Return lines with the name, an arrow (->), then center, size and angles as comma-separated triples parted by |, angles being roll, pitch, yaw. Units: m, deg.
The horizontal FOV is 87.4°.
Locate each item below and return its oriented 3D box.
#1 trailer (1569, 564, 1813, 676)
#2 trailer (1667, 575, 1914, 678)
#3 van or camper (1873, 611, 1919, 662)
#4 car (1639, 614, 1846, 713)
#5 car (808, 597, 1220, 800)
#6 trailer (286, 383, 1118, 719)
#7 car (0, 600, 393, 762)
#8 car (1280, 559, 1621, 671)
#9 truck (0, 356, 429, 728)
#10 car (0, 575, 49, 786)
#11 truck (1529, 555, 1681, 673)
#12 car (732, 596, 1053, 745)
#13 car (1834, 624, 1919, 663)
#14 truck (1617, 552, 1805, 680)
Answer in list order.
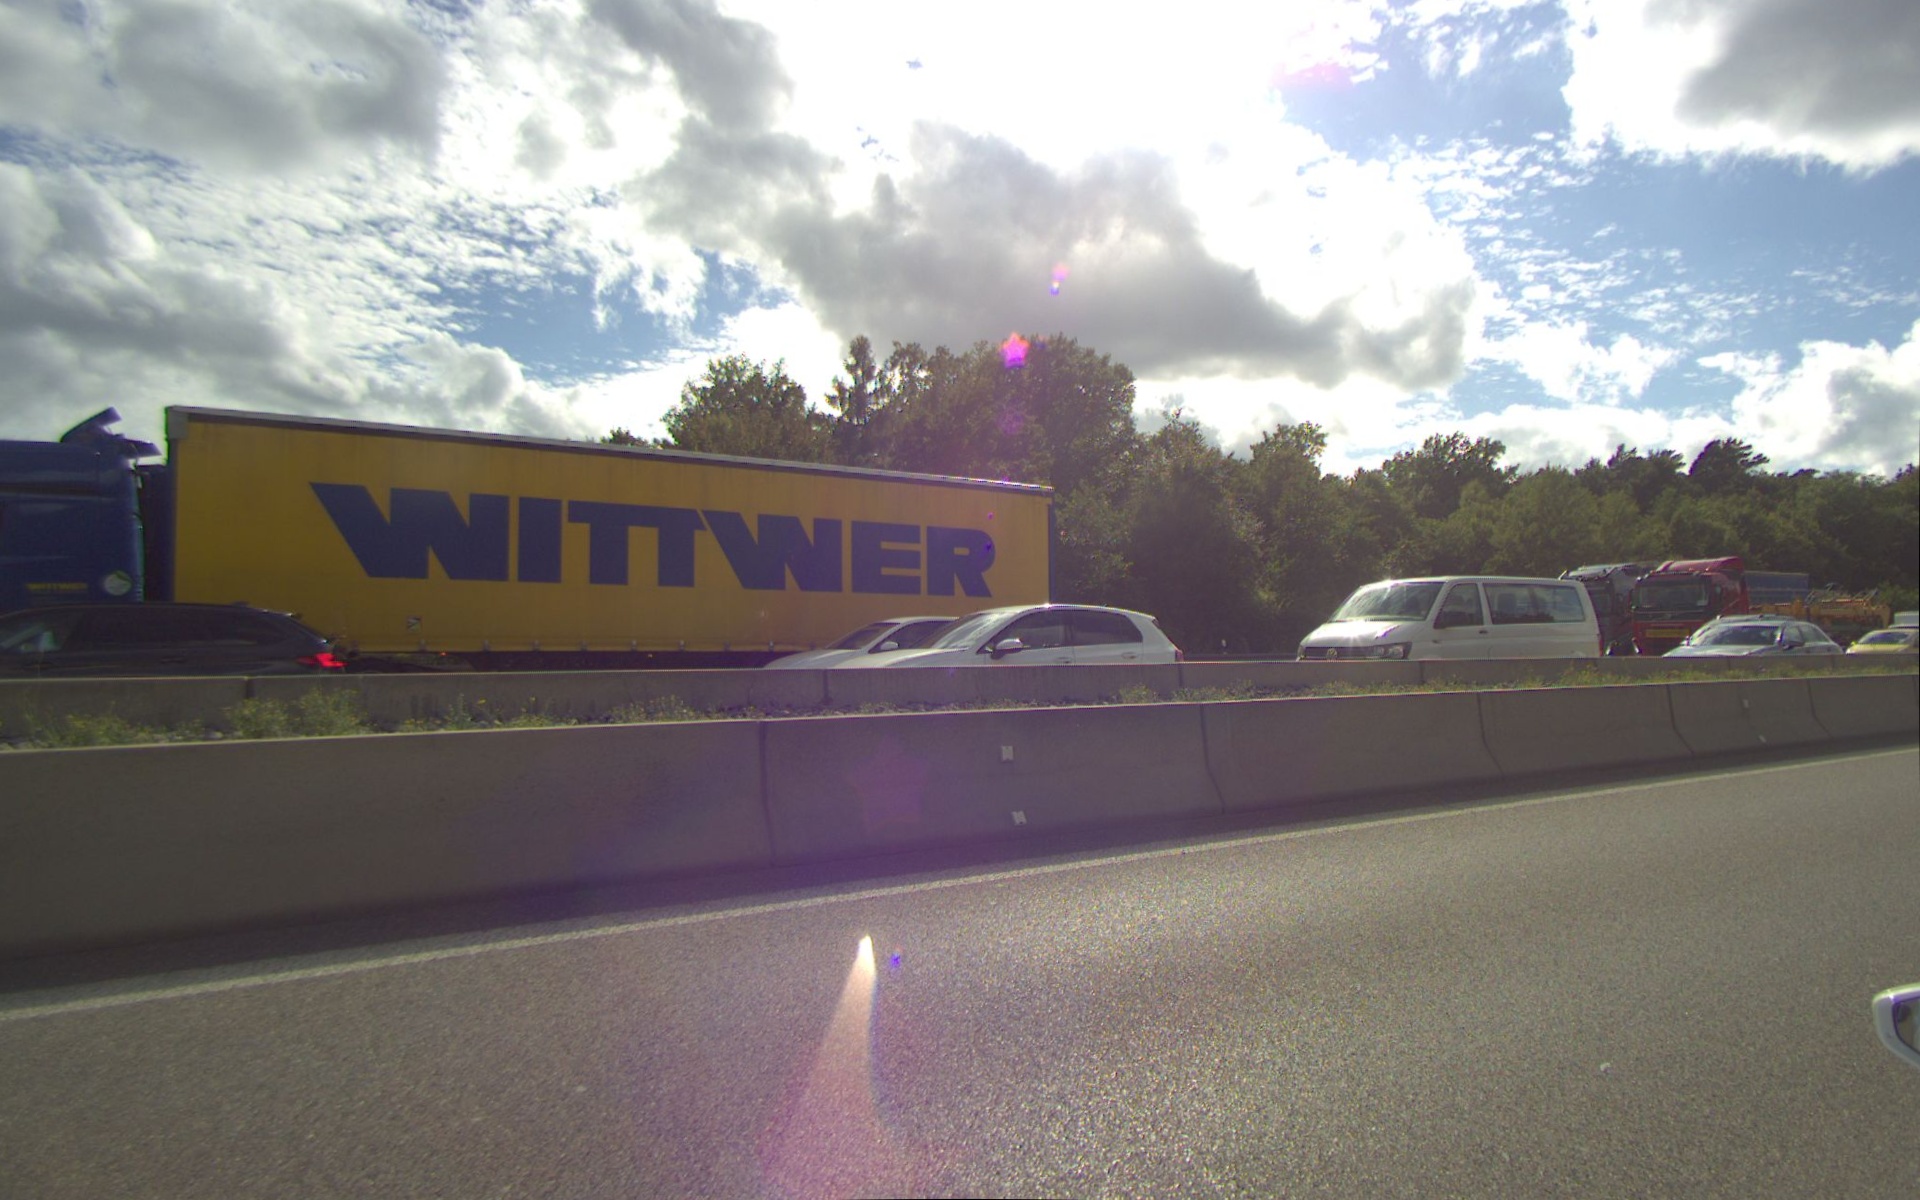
trailer -> 30.870, 0.825, 42.073 | 13.874, 4.175, 2.796 | 1, 1, -30
trailer -> 31.682, 0.959, 37.935 | 14.057, 3.380, 2.714 | 1, 0, -31
van or camper -> 62.232, 2.375, 65.144 | 7.114, 3.118, 2.559 | 2, -1, -31
car -> 14.587, 1.125, 18.686 | 3.954, 1.625, 1.714 | 1, 0, -31
car -> 0.667, 0.987, 10.974 | 4.247, 1.840, 1.678 | 3, -1, -31
trailer -> -3.431, -0.344, 17.511 | 13.505, 4.290, 2.757 | 3, -1, -31
car -> -8.069, 0.785, 10.363 | 3.793, 1.419, 1.724 | 3, -1, -31
car -> 7.312, 0.276, 14.768 | 5.426, 1.372, 1.840 | 3, -1, -31
truck -> -10.311, -0.602, 13.293 | 5.553, 4.203, 2.722 | 3, -1, -31
car -> -8.125, 0.493, 5.781 | 3.954, 1.395, 1.748 | 1, 0, -31
truck -> 24.782, 0.540, 38.586 | 5.390, 4.205, 2.797 | 1, 0, -31
car -> -0.908, 0.968, 14.363 | 4.247, 1.840, 1.678 | 3, -1, -31
car -> 29.996, 1.398, 32.413 | 3.954, 1.142, 1.577 | 1, 0, -31
truck -> 25.685, 0.544, 34.295 | 6.774, 3.991, 2.761 | 1, 0, -31
